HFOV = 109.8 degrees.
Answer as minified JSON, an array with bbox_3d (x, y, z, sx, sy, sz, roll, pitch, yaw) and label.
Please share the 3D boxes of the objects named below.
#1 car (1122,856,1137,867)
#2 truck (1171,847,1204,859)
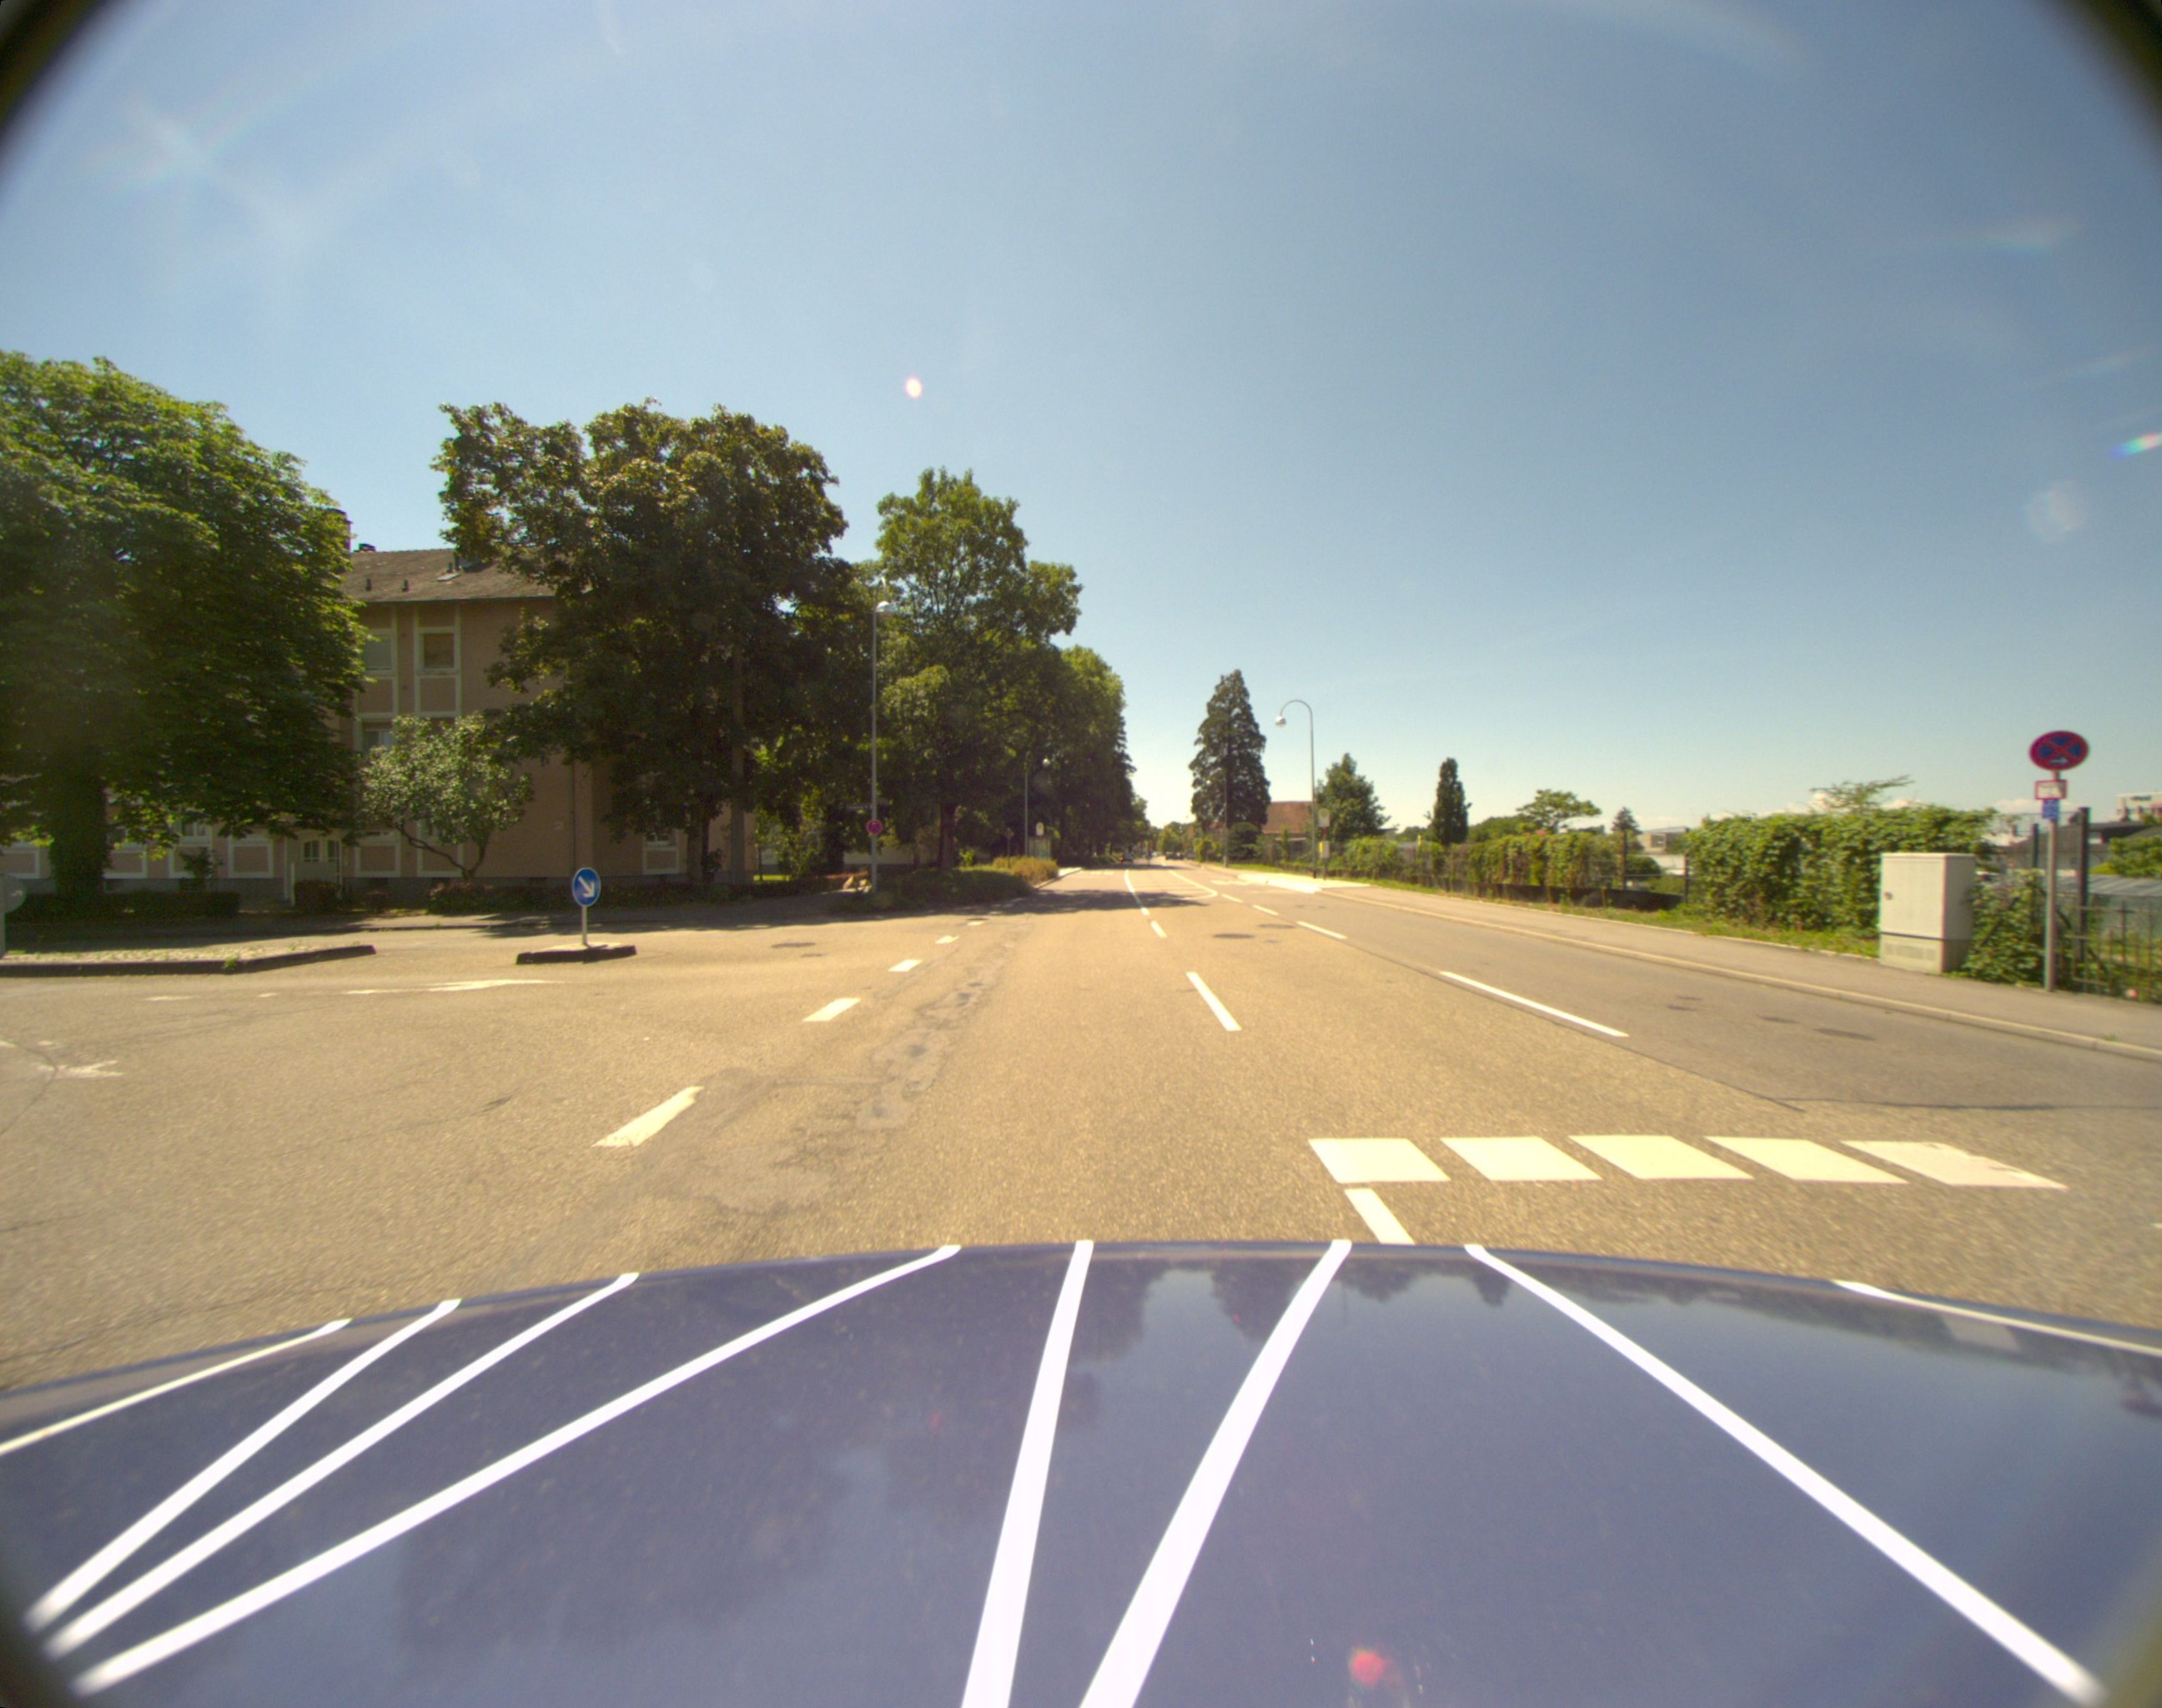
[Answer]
[{"bbox_3d":[7.084,1.072,109.748,1.883,1.623,4.323,0,1,7],"label":"car"},{"bbox_3d":[21.078,-0.170,150.706,2.630,2.228,6.240,-1,1,-39],"label":"truck"}]
